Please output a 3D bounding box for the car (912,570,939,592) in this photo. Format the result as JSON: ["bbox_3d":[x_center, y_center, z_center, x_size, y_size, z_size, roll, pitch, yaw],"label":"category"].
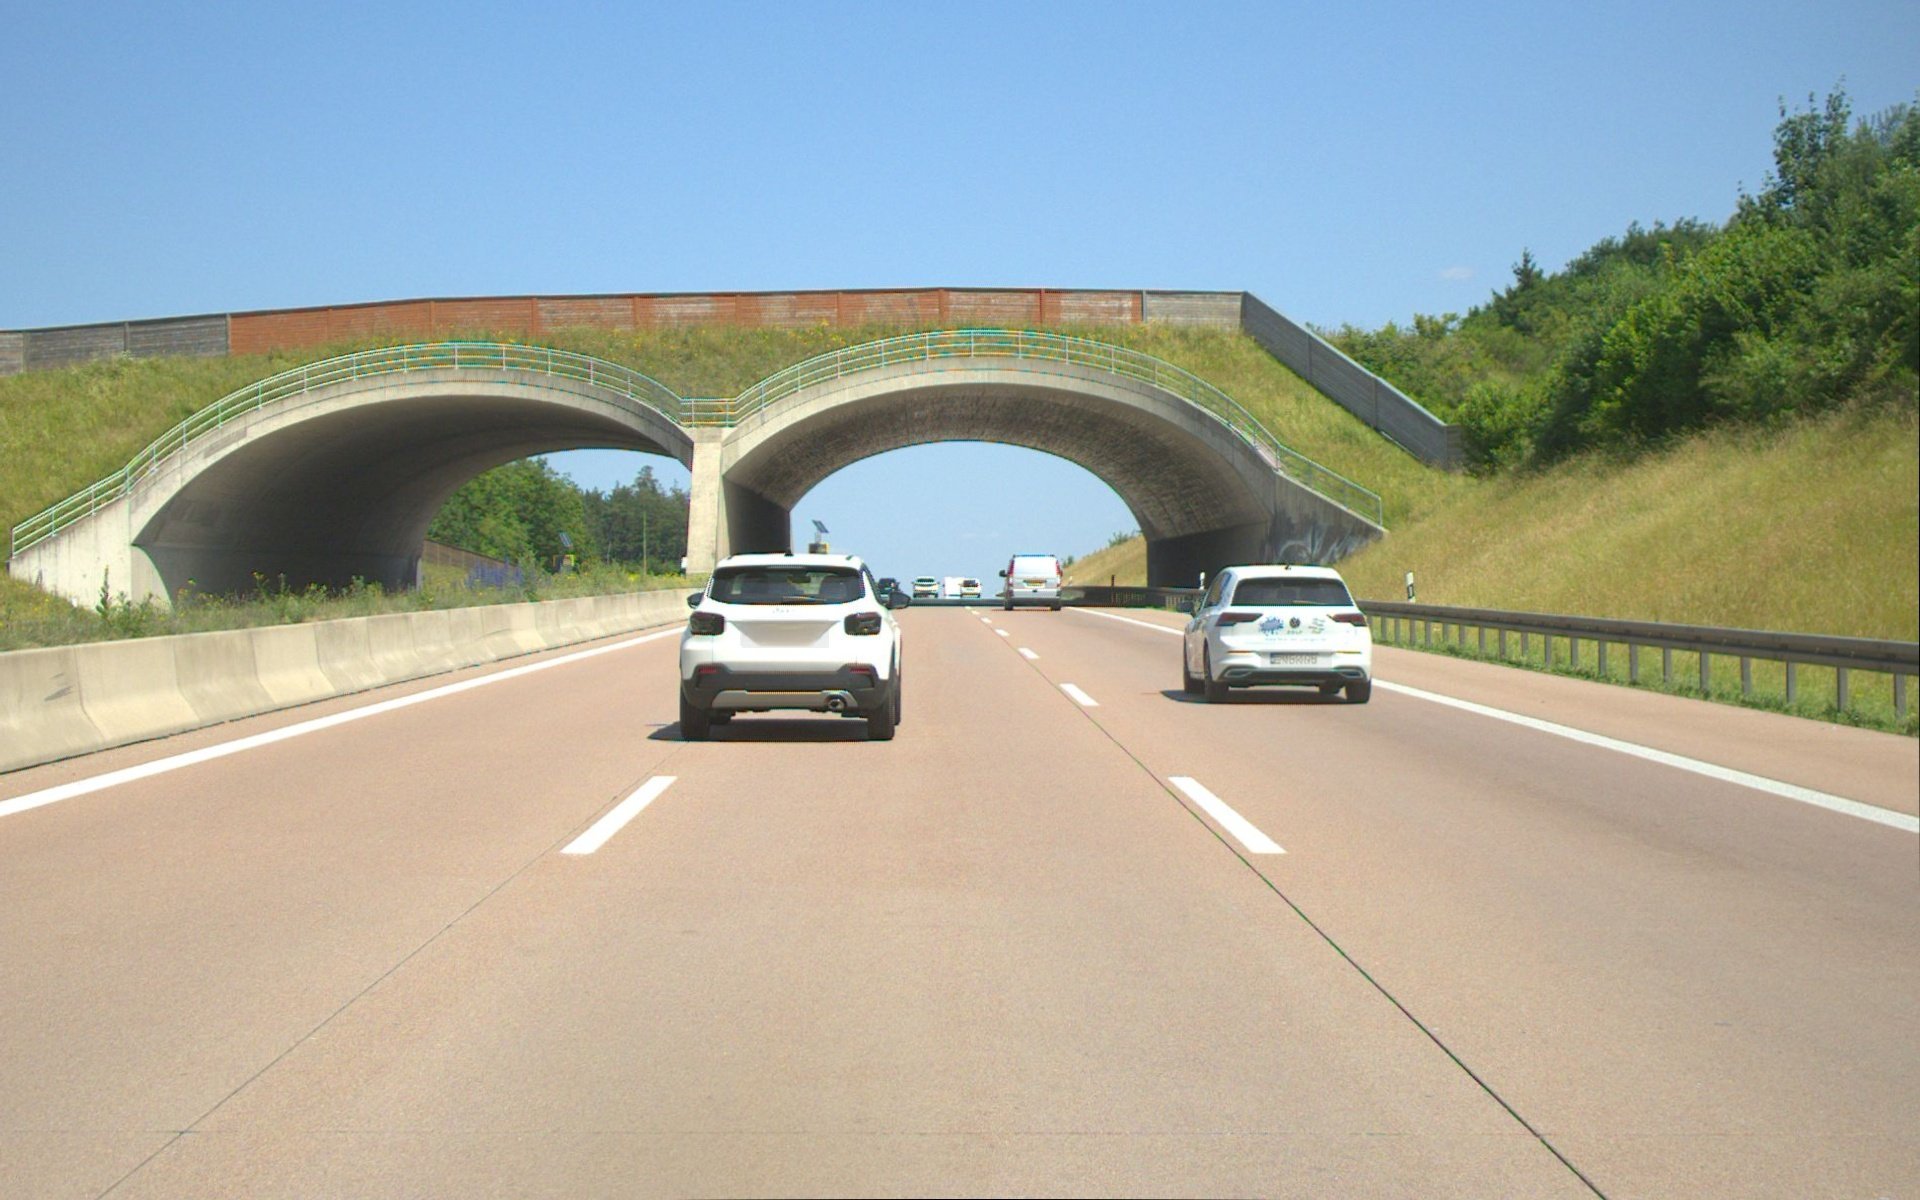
[{"bbox_3d":[-2.453,-1.353,247.953,1.891,1.458,4.000,1,1,0],"label":"car"}]

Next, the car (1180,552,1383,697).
[{"bbox_3d":[3.428,0.227,37.312,1.891,1.393,4.000,1,2,1],"label":"car"}]

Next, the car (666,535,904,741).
[{"bbox_3d":[-1.433,0.258,29.787,1.879,1.602,4.834,0,1,-1],"label":"car"}]

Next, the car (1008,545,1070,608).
[{"bbox_3d":[2.720,-0.832,118.262,2.110,2.046,4.000,0,2,1],"label":"car"}]
